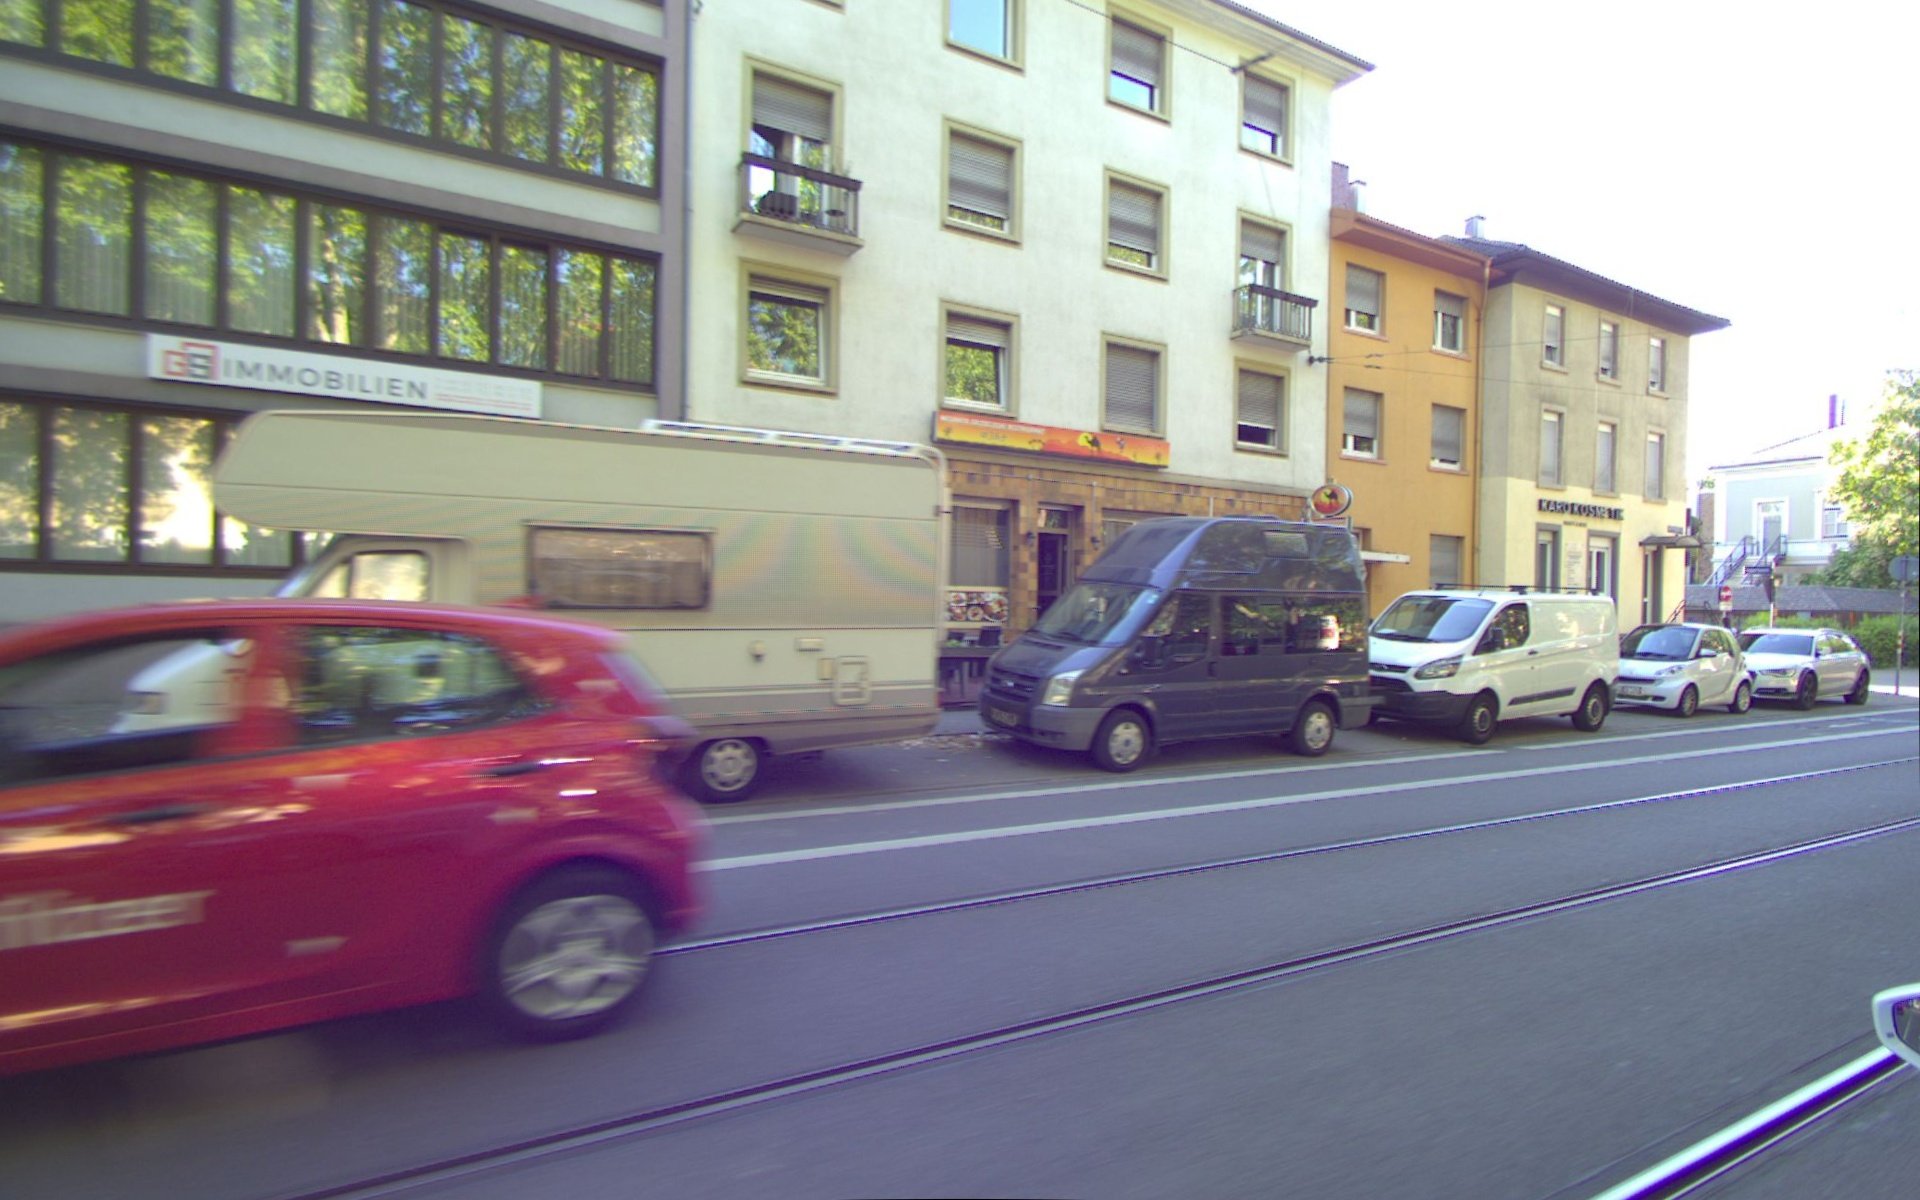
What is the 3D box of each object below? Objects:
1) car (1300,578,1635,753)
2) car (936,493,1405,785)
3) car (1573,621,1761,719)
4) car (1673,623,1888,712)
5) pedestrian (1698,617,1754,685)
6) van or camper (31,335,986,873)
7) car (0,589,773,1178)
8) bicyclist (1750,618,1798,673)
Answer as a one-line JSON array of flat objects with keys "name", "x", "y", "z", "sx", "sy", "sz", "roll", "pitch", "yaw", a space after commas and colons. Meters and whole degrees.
[{"name": "car", "x": 7.512, "y": 0.813, "z": 14.696, "sx": 5.191, "sy": 2.120, "sz": 1.941, "roll": 0, "pitch": 3, "yaw": -33}, {"name": "car", "x": 2.550, "y": 0.370, "z": 11.712, "sx": 5.247, "sy": 2.768, "sz": 2.076, "roll": 1, "pitch": 2, "yaw": -31}, {"name": "car", "x": 12.627, "y": 1.202, "z": 17.936, "sx": 3.003, "sy": 1.547, "sz": 1.565, "roll": 1, "pitch": 1, "yaw": -29}, {"name": "car", "x": 16.573, "y": 1.268, "z": 20.215, "sx": 5.014, "sy": 1.488, "sz": 1.825, "roll": 1, "pitch": 2, "yaw": -33}, {"name": "pedestrian", "x": 18.570, "y": 1.228, "z": 24.363, "sx": 0.930, "sy": 1.614, "sz": 0.783, "roll": 1, "pitch": -1, "yaw": -30}, {"name": "van or camper", "x": -3.127, "y": 0.040, "z": 8.338, "sx": 6.320, "sy": 3.082, "sz": 2.326, "roll": 1, "pitch": 2, "yaw": -30}, {"name": "car", "x": -2.765, "y": 0.736, "z": 3.336, "sx": 3.905, "sy": 1.499, "sz": 1.655, "roll": 1, "pitch": -1, "yaw": -31}, {"name": "bicyclist", "x": 26.441, "y": 1.454, "z": 32.618, "sx": 1.049, "sy": 1.728, "sz": 1.037, "roll": 1, "pitch": -1, "yaw": -39}]
